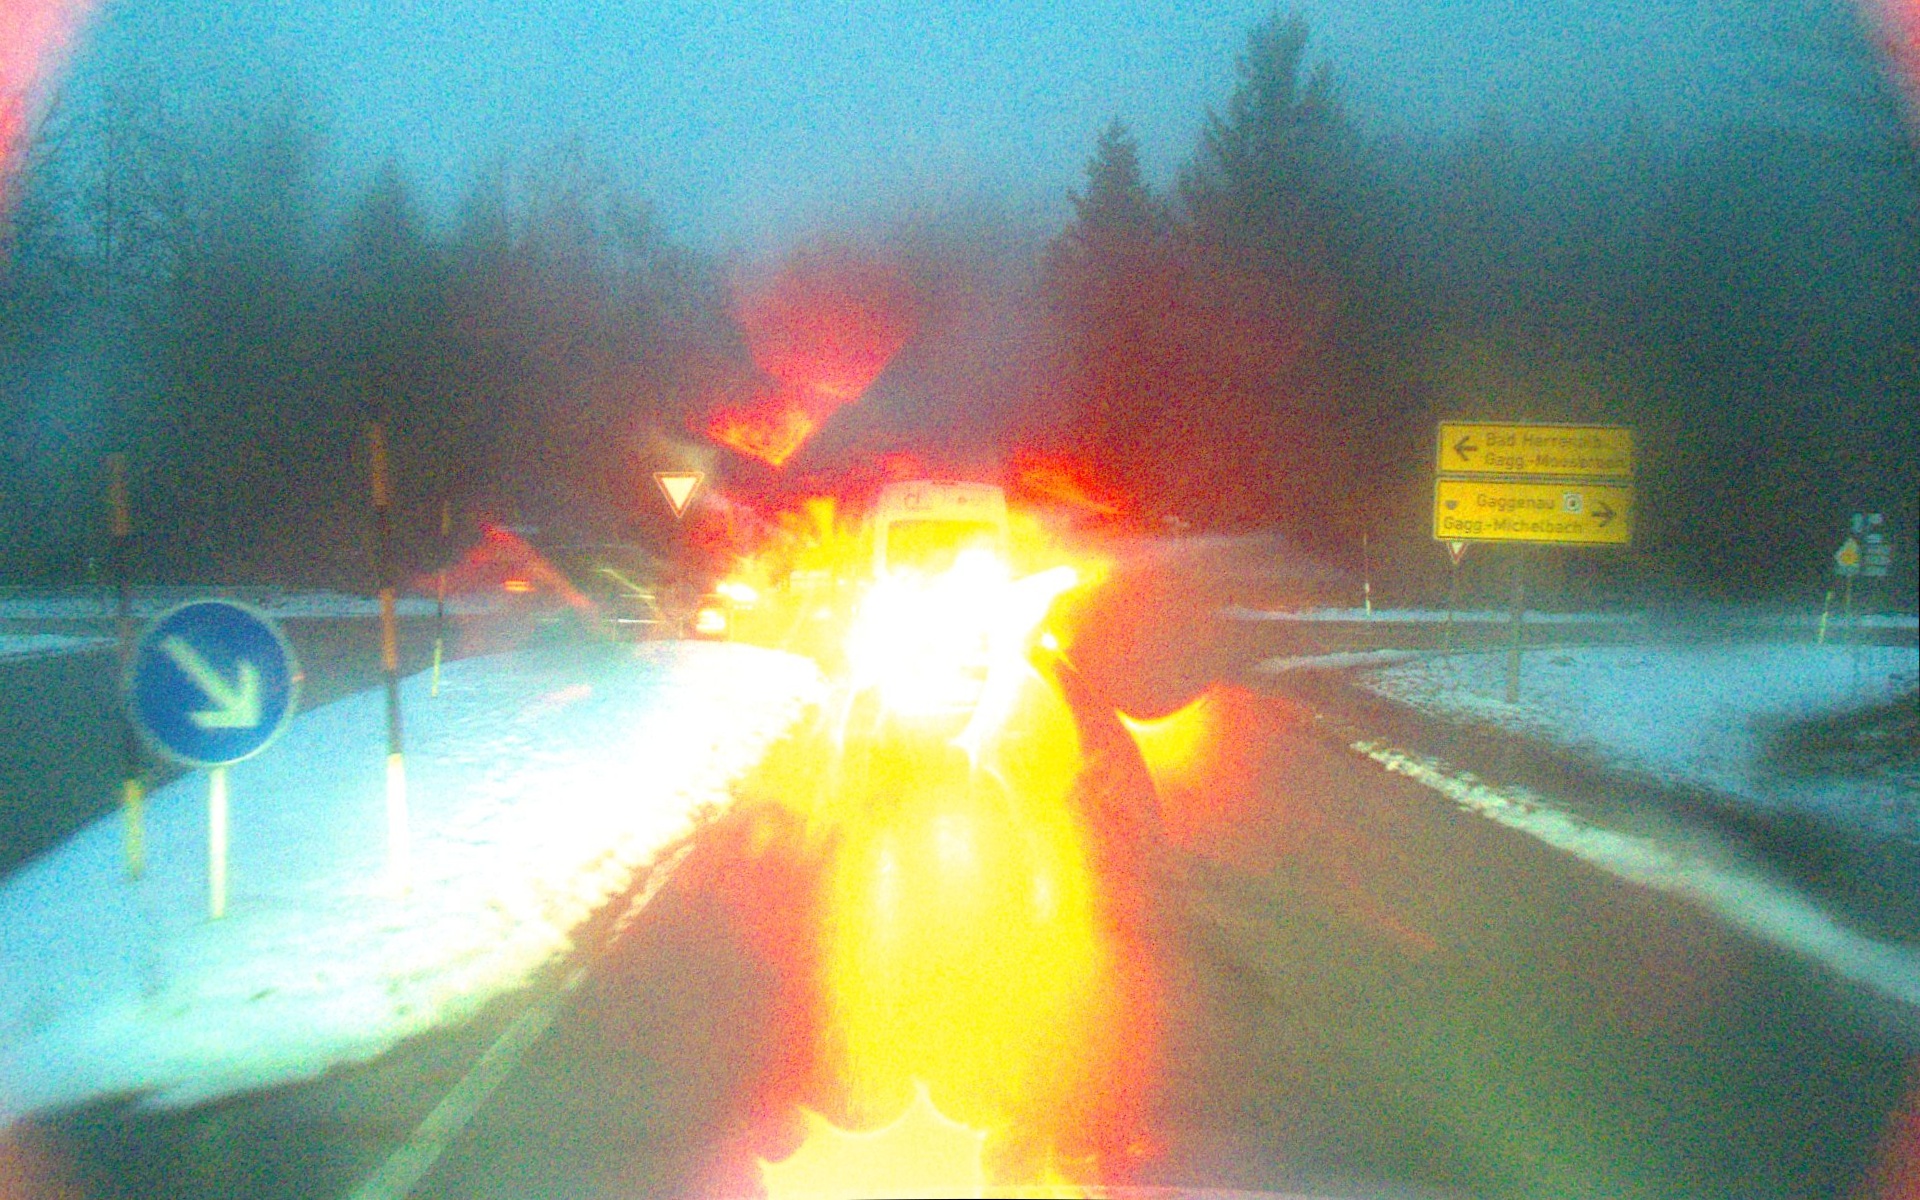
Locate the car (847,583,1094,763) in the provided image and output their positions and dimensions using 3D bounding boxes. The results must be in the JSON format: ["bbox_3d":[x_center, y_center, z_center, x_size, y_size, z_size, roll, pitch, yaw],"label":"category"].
[{"bbox_3d":[0.039,0.544,14.826,1.883,1.299,3.999,1,1,-1],"label":"car"}]

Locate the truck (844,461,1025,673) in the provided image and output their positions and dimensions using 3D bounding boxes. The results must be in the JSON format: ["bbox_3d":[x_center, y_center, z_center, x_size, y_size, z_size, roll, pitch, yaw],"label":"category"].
[{"bbox_3d":[-0.519,-0.452,24.917,2.037,2.794,5.310,2,0,-8],"label":"truck"}]

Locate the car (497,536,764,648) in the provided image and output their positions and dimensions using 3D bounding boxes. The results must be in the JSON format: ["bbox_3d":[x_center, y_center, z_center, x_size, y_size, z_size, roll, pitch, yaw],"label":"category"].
[{"bbox_3d":[-6.363,-0.140,32.151,4.916,1.979,1.680,2,0,-13],"label":"car"}]
